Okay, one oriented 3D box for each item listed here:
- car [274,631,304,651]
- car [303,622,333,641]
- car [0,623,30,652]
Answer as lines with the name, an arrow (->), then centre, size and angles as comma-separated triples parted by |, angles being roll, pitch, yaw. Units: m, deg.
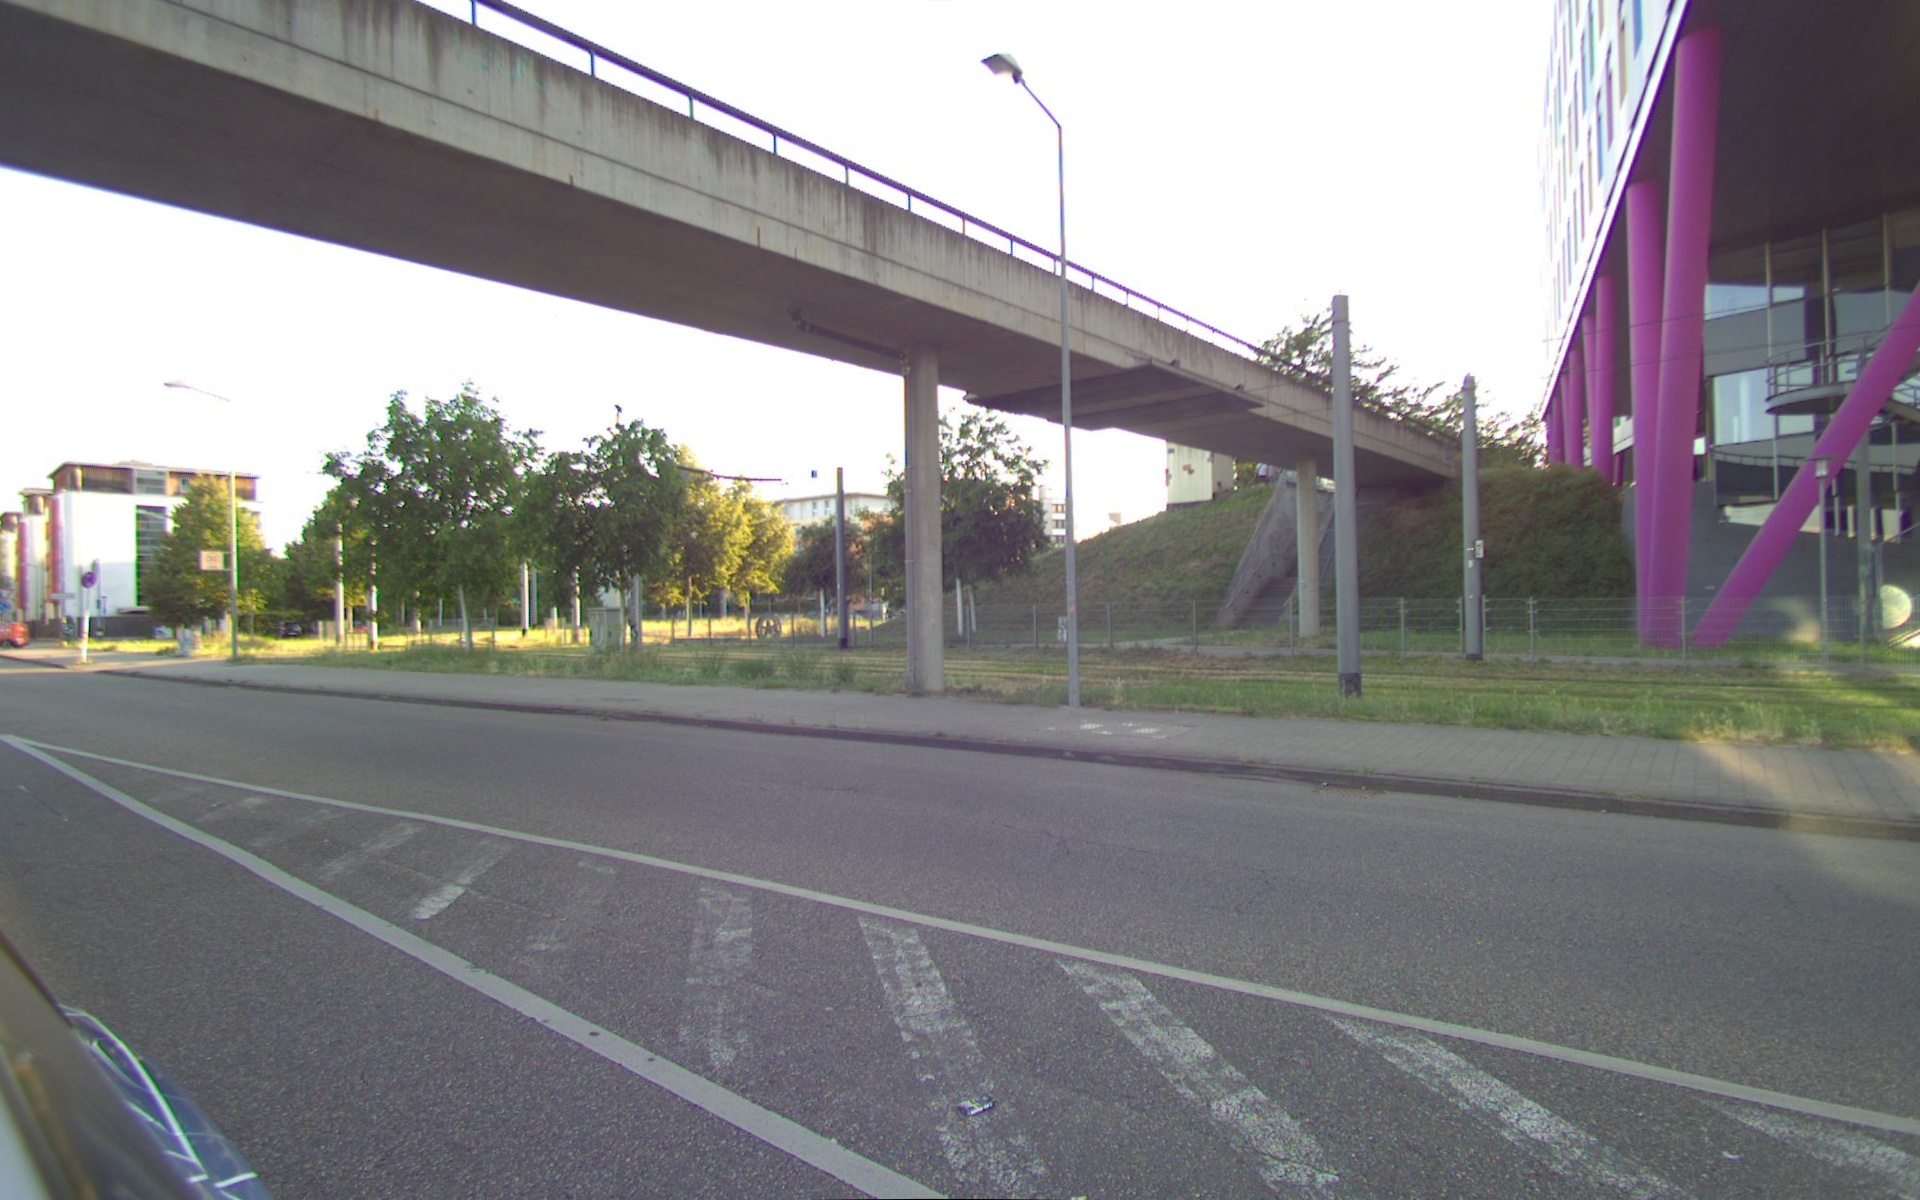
car -> -56.900, 3.447, 85.811 | 1.913, 1.541, 4.009 | -1, -1, -36
car -> -55.242, 2.725, 87.015 | 1.913, 1.541, 4.009 | -1, -1, -36
car -> -70.101, 2.694, 72.019 | 5.430, 2.029, 2.006 | -1, -1, -26
